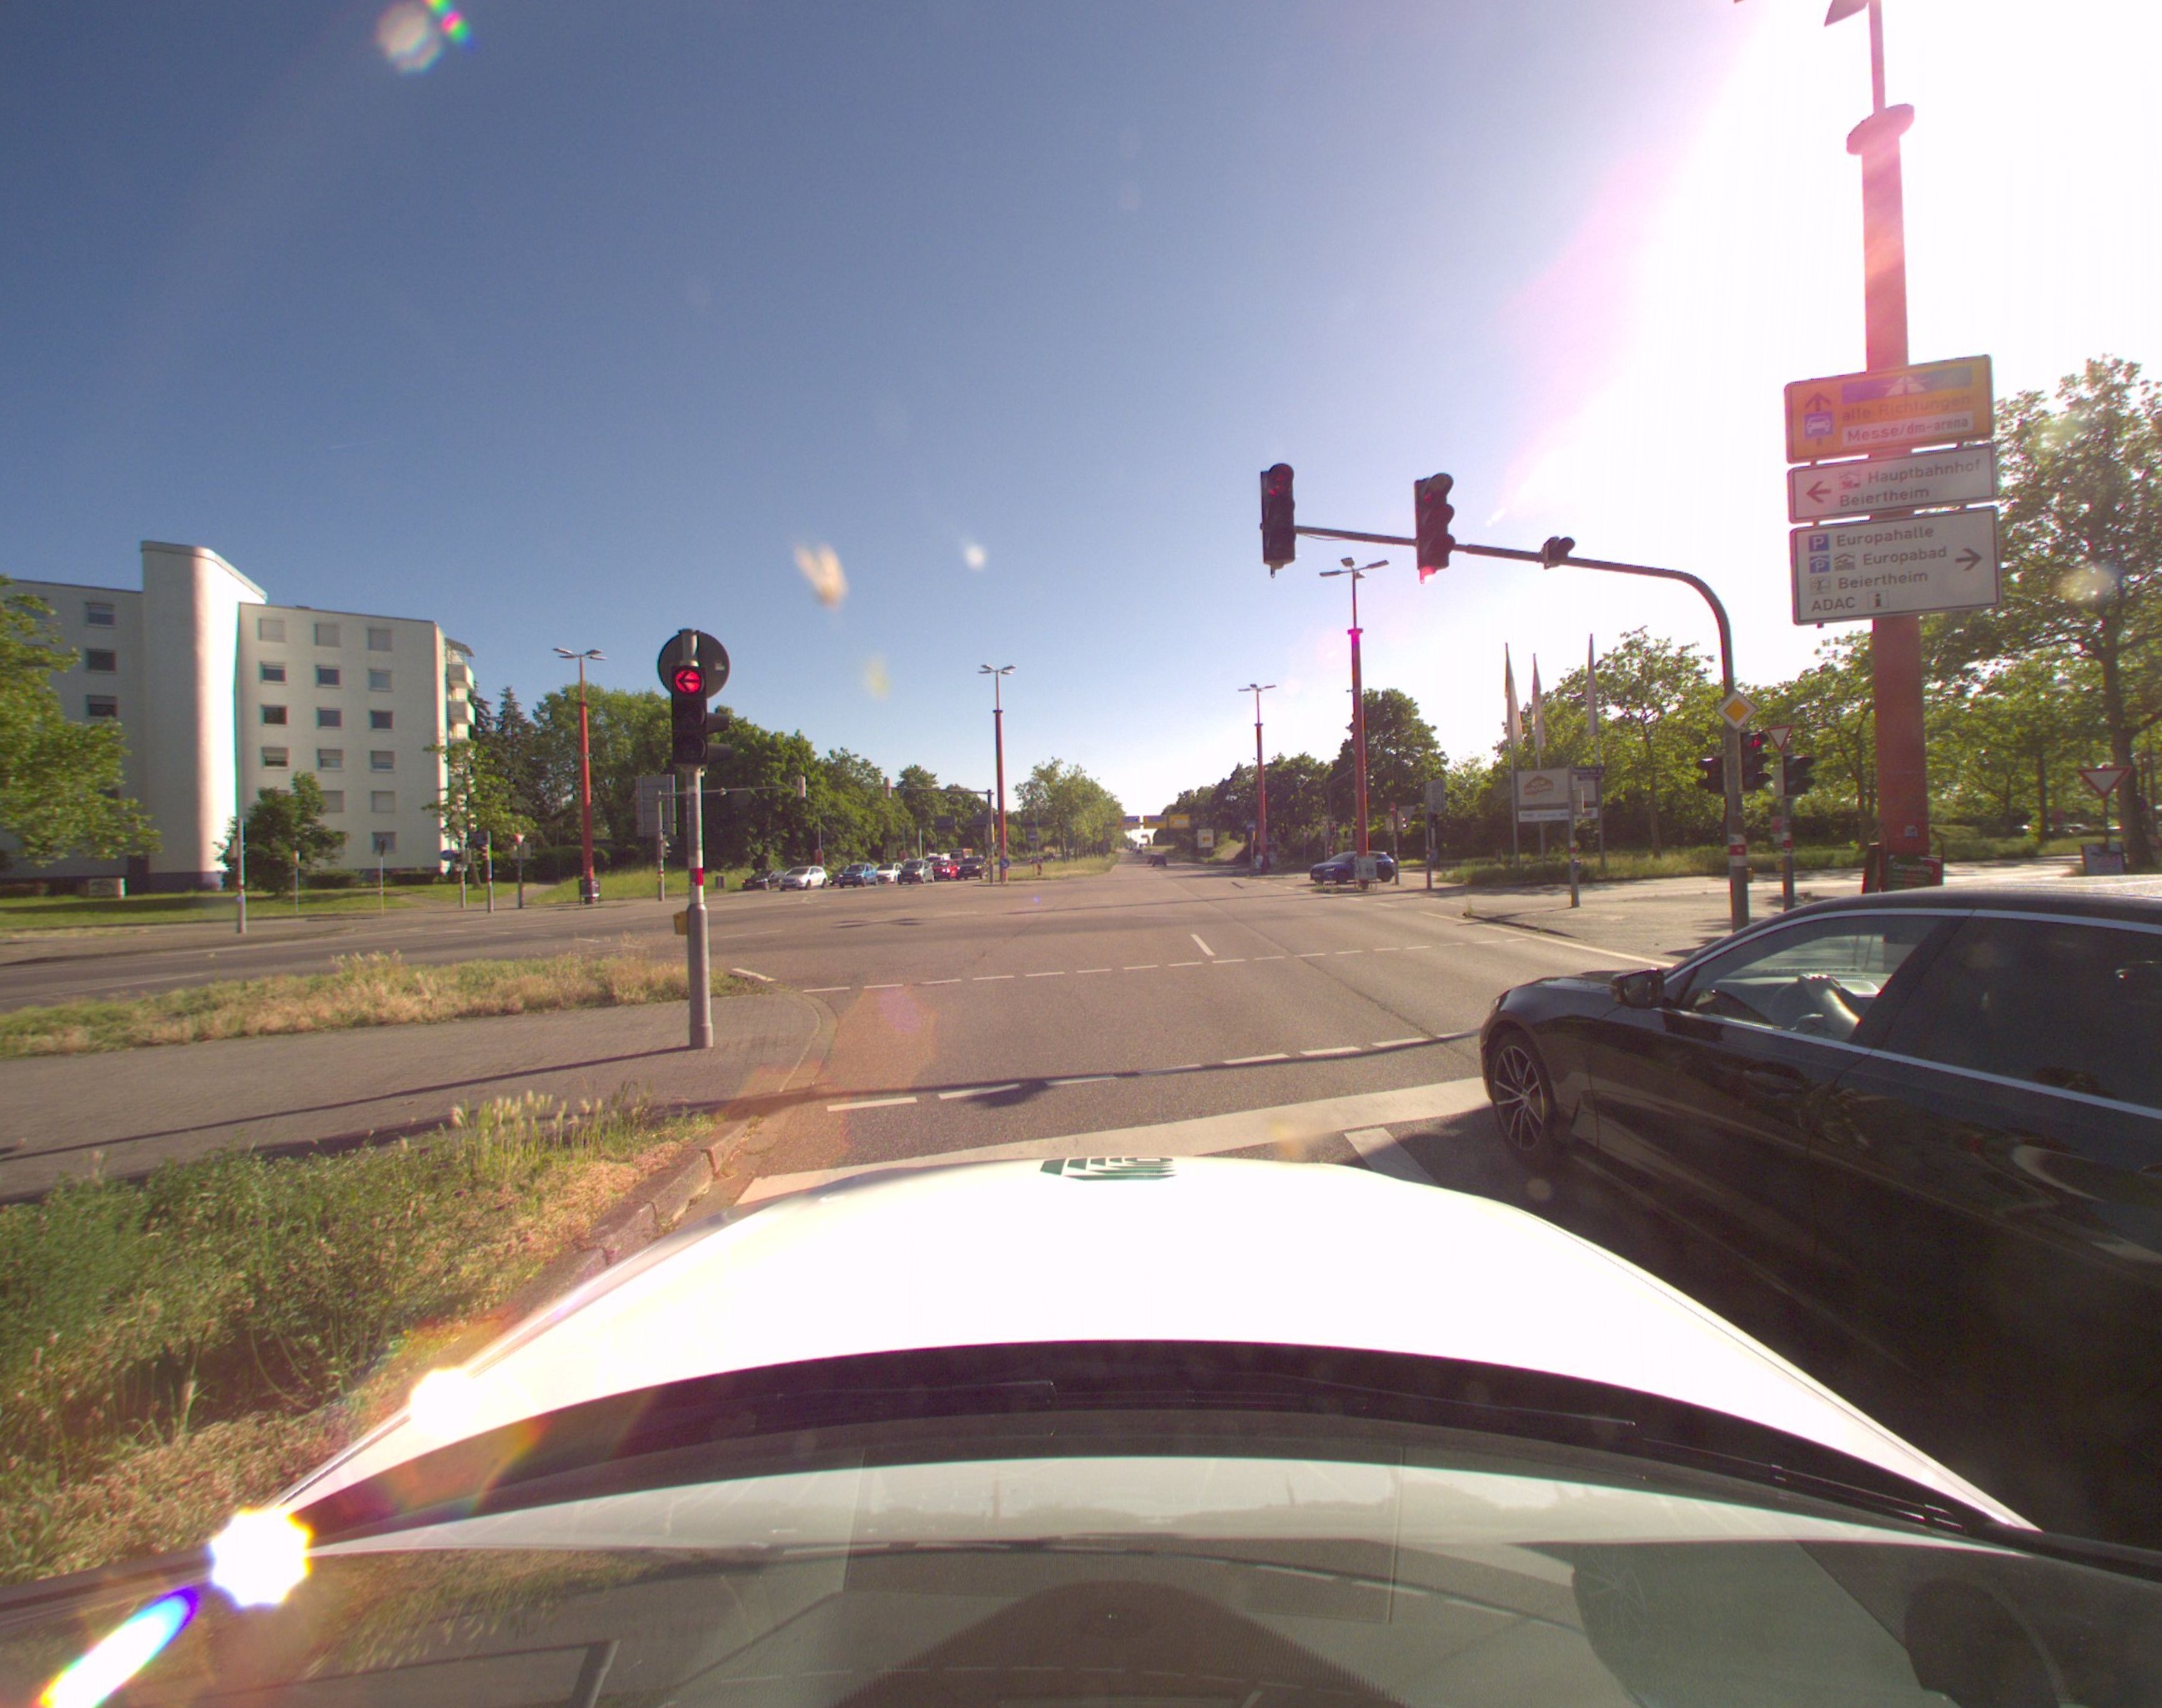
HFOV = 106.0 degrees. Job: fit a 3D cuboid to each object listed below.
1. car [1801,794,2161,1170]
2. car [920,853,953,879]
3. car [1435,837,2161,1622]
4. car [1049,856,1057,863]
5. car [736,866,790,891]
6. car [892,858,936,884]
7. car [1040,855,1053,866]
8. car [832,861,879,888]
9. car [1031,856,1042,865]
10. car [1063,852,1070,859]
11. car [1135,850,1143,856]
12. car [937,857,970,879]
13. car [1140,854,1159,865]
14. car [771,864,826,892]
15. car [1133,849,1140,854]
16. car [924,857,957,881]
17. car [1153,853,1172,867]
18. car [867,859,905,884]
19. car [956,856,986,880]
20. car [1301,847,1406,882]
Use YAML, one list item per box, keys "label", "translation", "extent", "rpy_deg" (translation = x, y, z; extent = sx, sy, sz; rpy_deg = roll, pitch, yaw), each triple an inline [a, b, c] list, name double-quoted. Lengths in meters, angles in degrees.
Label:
- label: "car"
  translation: [5.804, 0.559, 3.264]
  extent: [1.959, 1.686, 4.479]
  rpy_deg: [-1, 0, 2]
- label: "car"
  translation: [-12.734, 1.055, 71.988]
  extent: [2.055, 2.193, 4.377]
  rpy_deg: [-2, 0, 0]
- label: "car"
  translation: [2.958, 0.664, 2.376]
  extent: [1.986, 1.394, 4.479]
  rpy_deg: [-2, 0, 2]
- label: "car"
  translation: [-7.422, 1.428, 216.097]
  extent: [1.872, 1.573, 4.117]
  rpy_deg: [-2, 0, -2]
- label: "car"
  translation: [-22.365, 1.699, 57.451]
  extent: [1.986, 1.598, 4.224]
  rpy_deg: [-2, 0, 2]
- label: "car"
  translation: [-10.730, 1.046, 52.582]
  extent: [1.988, 1.573, 4.119]
  rpy_deg: [-2, 0, -1]
- label: "car"
  translation: [-5.209, 0.990, 124.021]
  extent: [1.872, 1.573, 4.117]
  rpy_deg: [-2, 0, -2]
- label: "car"
  translation: [-14.234, 1.284, 51.642]
  extent: [1.989, 1.573, 4.116]
  rpy_deg: [-2, 0, -3]
- label: "car"
  translation: [-8.162, 1.122, 149.424]
  extent: [1.872, 1.573, 4.117]
  rpy_deg: [-2, 0, -2]
- label: "car"
  translation: [-3.935, 0.398, 217.091]
  extent: [1.872, 1.573, 4.117]
  rpy_deg: [-2, 0, -2]
- label: "car"
  translation: [16.574, -0.203, 233.286]
  extent: [2.149, 1.573, 4.285]
  rpy_deg: [-2, 0, 4]
- label: "car"
  translation: [-10.064, 1.094, 64.655]
  extent: [1.988, 1.573, 4.118]
  rpy_deg: [-2, 0, -1]
- label: "car"
  translation: [9.906, 0.816, 118.146]
  extent: [2.153, 1.573, 4.580]
  rpy_deg: [-2, 0, -1]
- label: "car"
  translation: [-17.691, 1.467, 51.182]
  extent: [1.987, 1.573, 4.120]
  rpy_deg: [-2, 0, 0]
- label: "car"
  translation: [17.726, -0.839, 259.811]
  extent: [2.151, 1.573, 4.281]
  rpy_deg: [-2, 0, 1]
- label: "car"
  translation: [-10.102, 1.047, 58.873]
  extent: [1.991, 1.573, 4.112]
  rpy_deg: [-2, 0, -6]
- label: "car"
  translation: [9.778, 0.669, 98.318]
  extent: [2.149, 1.573, 4.286]
  rpy_deg: [-2, 0, 5]
- label: "car"
  translation: [-13.737, 1.217, 57.525]
  extent: [1.991, 1.573, 4.112]
  rpy_deg: [-3, 0, -6]
- label: "car"
  translation: [-7.564, 0.940, 56.492]
  extent: [1.874, 1.573, 4.112]
  rpy_deg: [-2, 0, -6]
- label: "car"
  translation: [12.447, 0.482, 37.239]
  extent: [4.281, 1.428, 1.871]
  rpy_deg: [-2, 0, -20]
